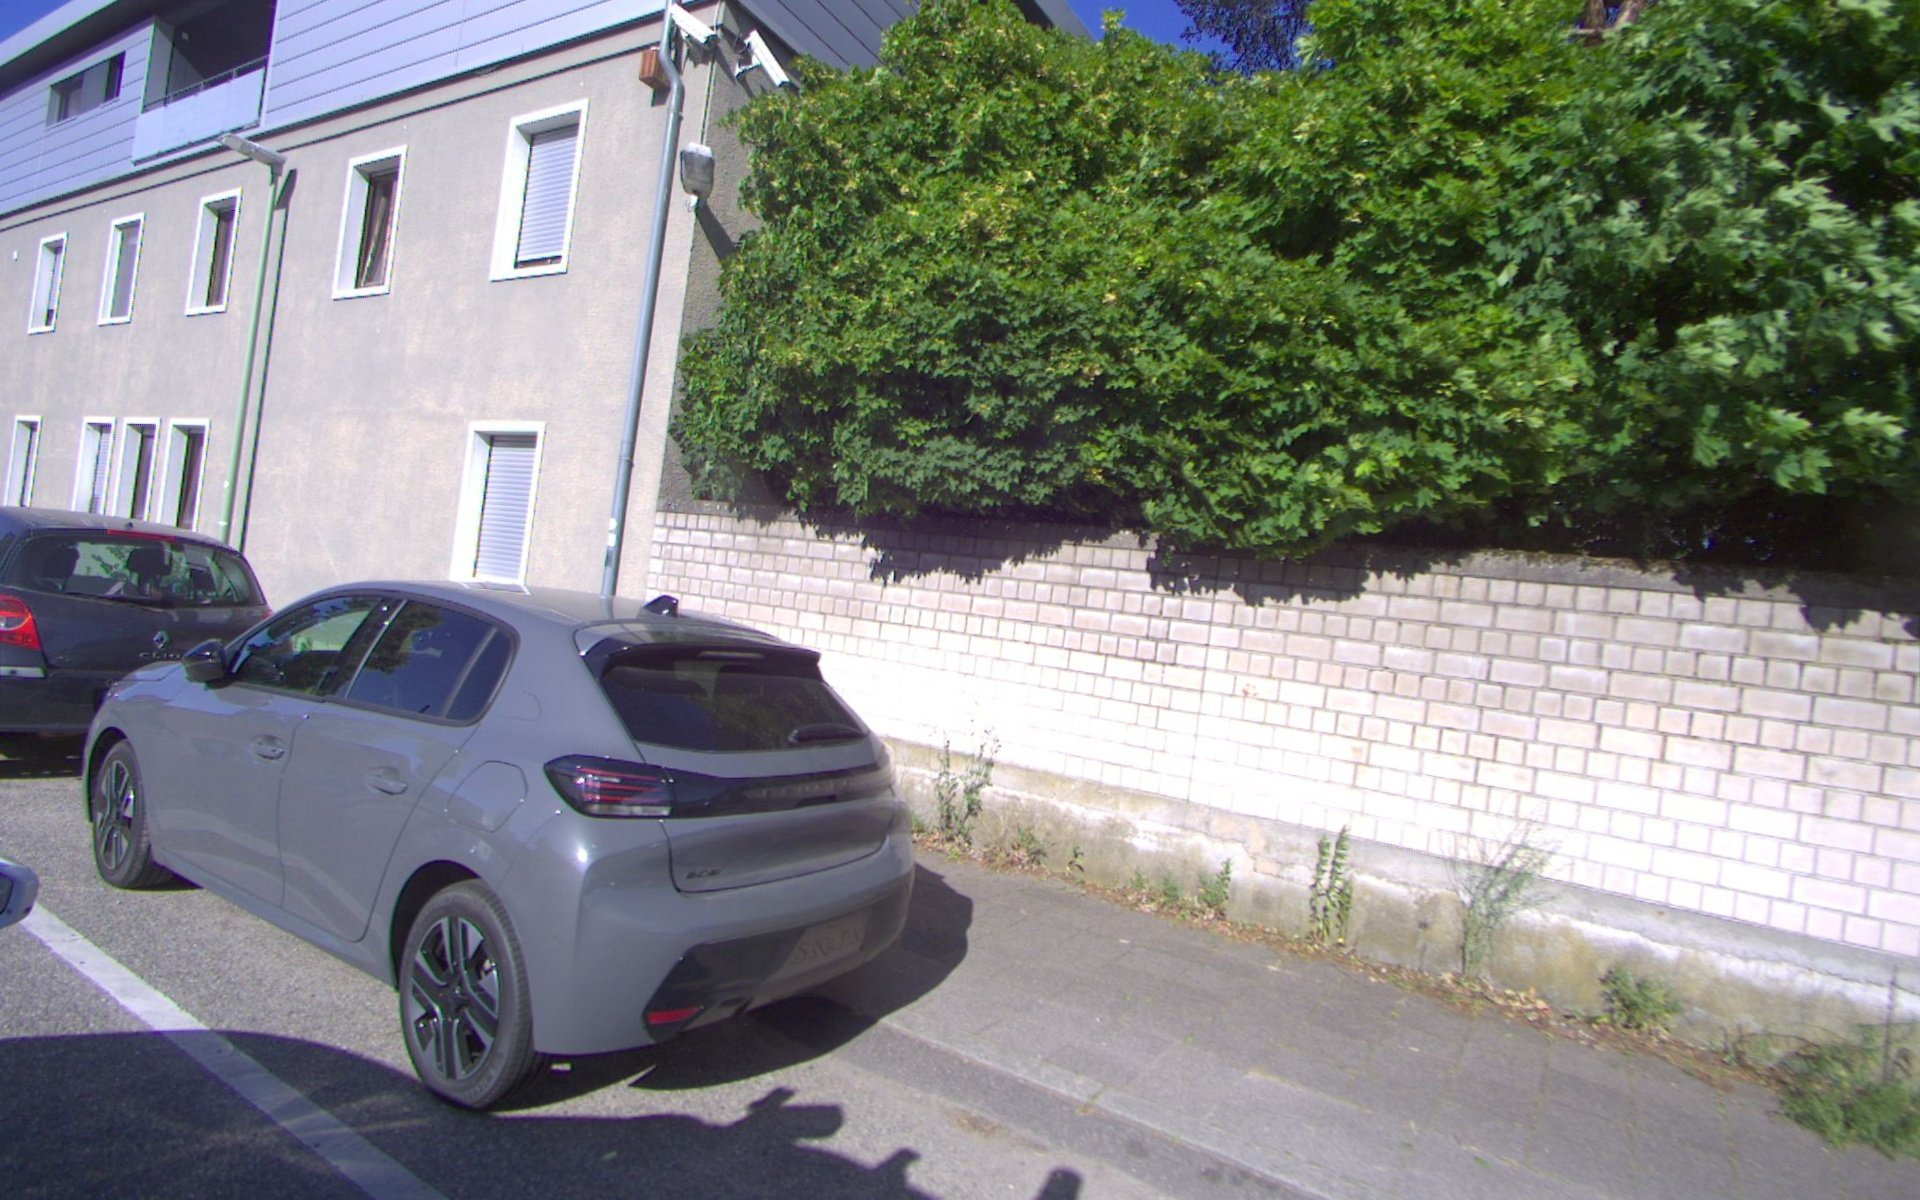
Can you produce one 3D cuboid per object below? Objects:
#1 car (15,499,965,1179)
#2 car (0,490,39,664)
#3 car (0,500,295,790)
[{"bbox_3d":[-2.167,0.563,4.278,3.965,1.523,1.662,7,-1,32],"label":"car"},{"bbox_3d":[-11.596,-0.522,10.188,4.689,1.664,1.935,7,-1,30],"label":"car"},{"bbox_3d":[-6.380,0.107,6.870,4.124,1.490,1.600,7,-1,36],"label":"car"}]
